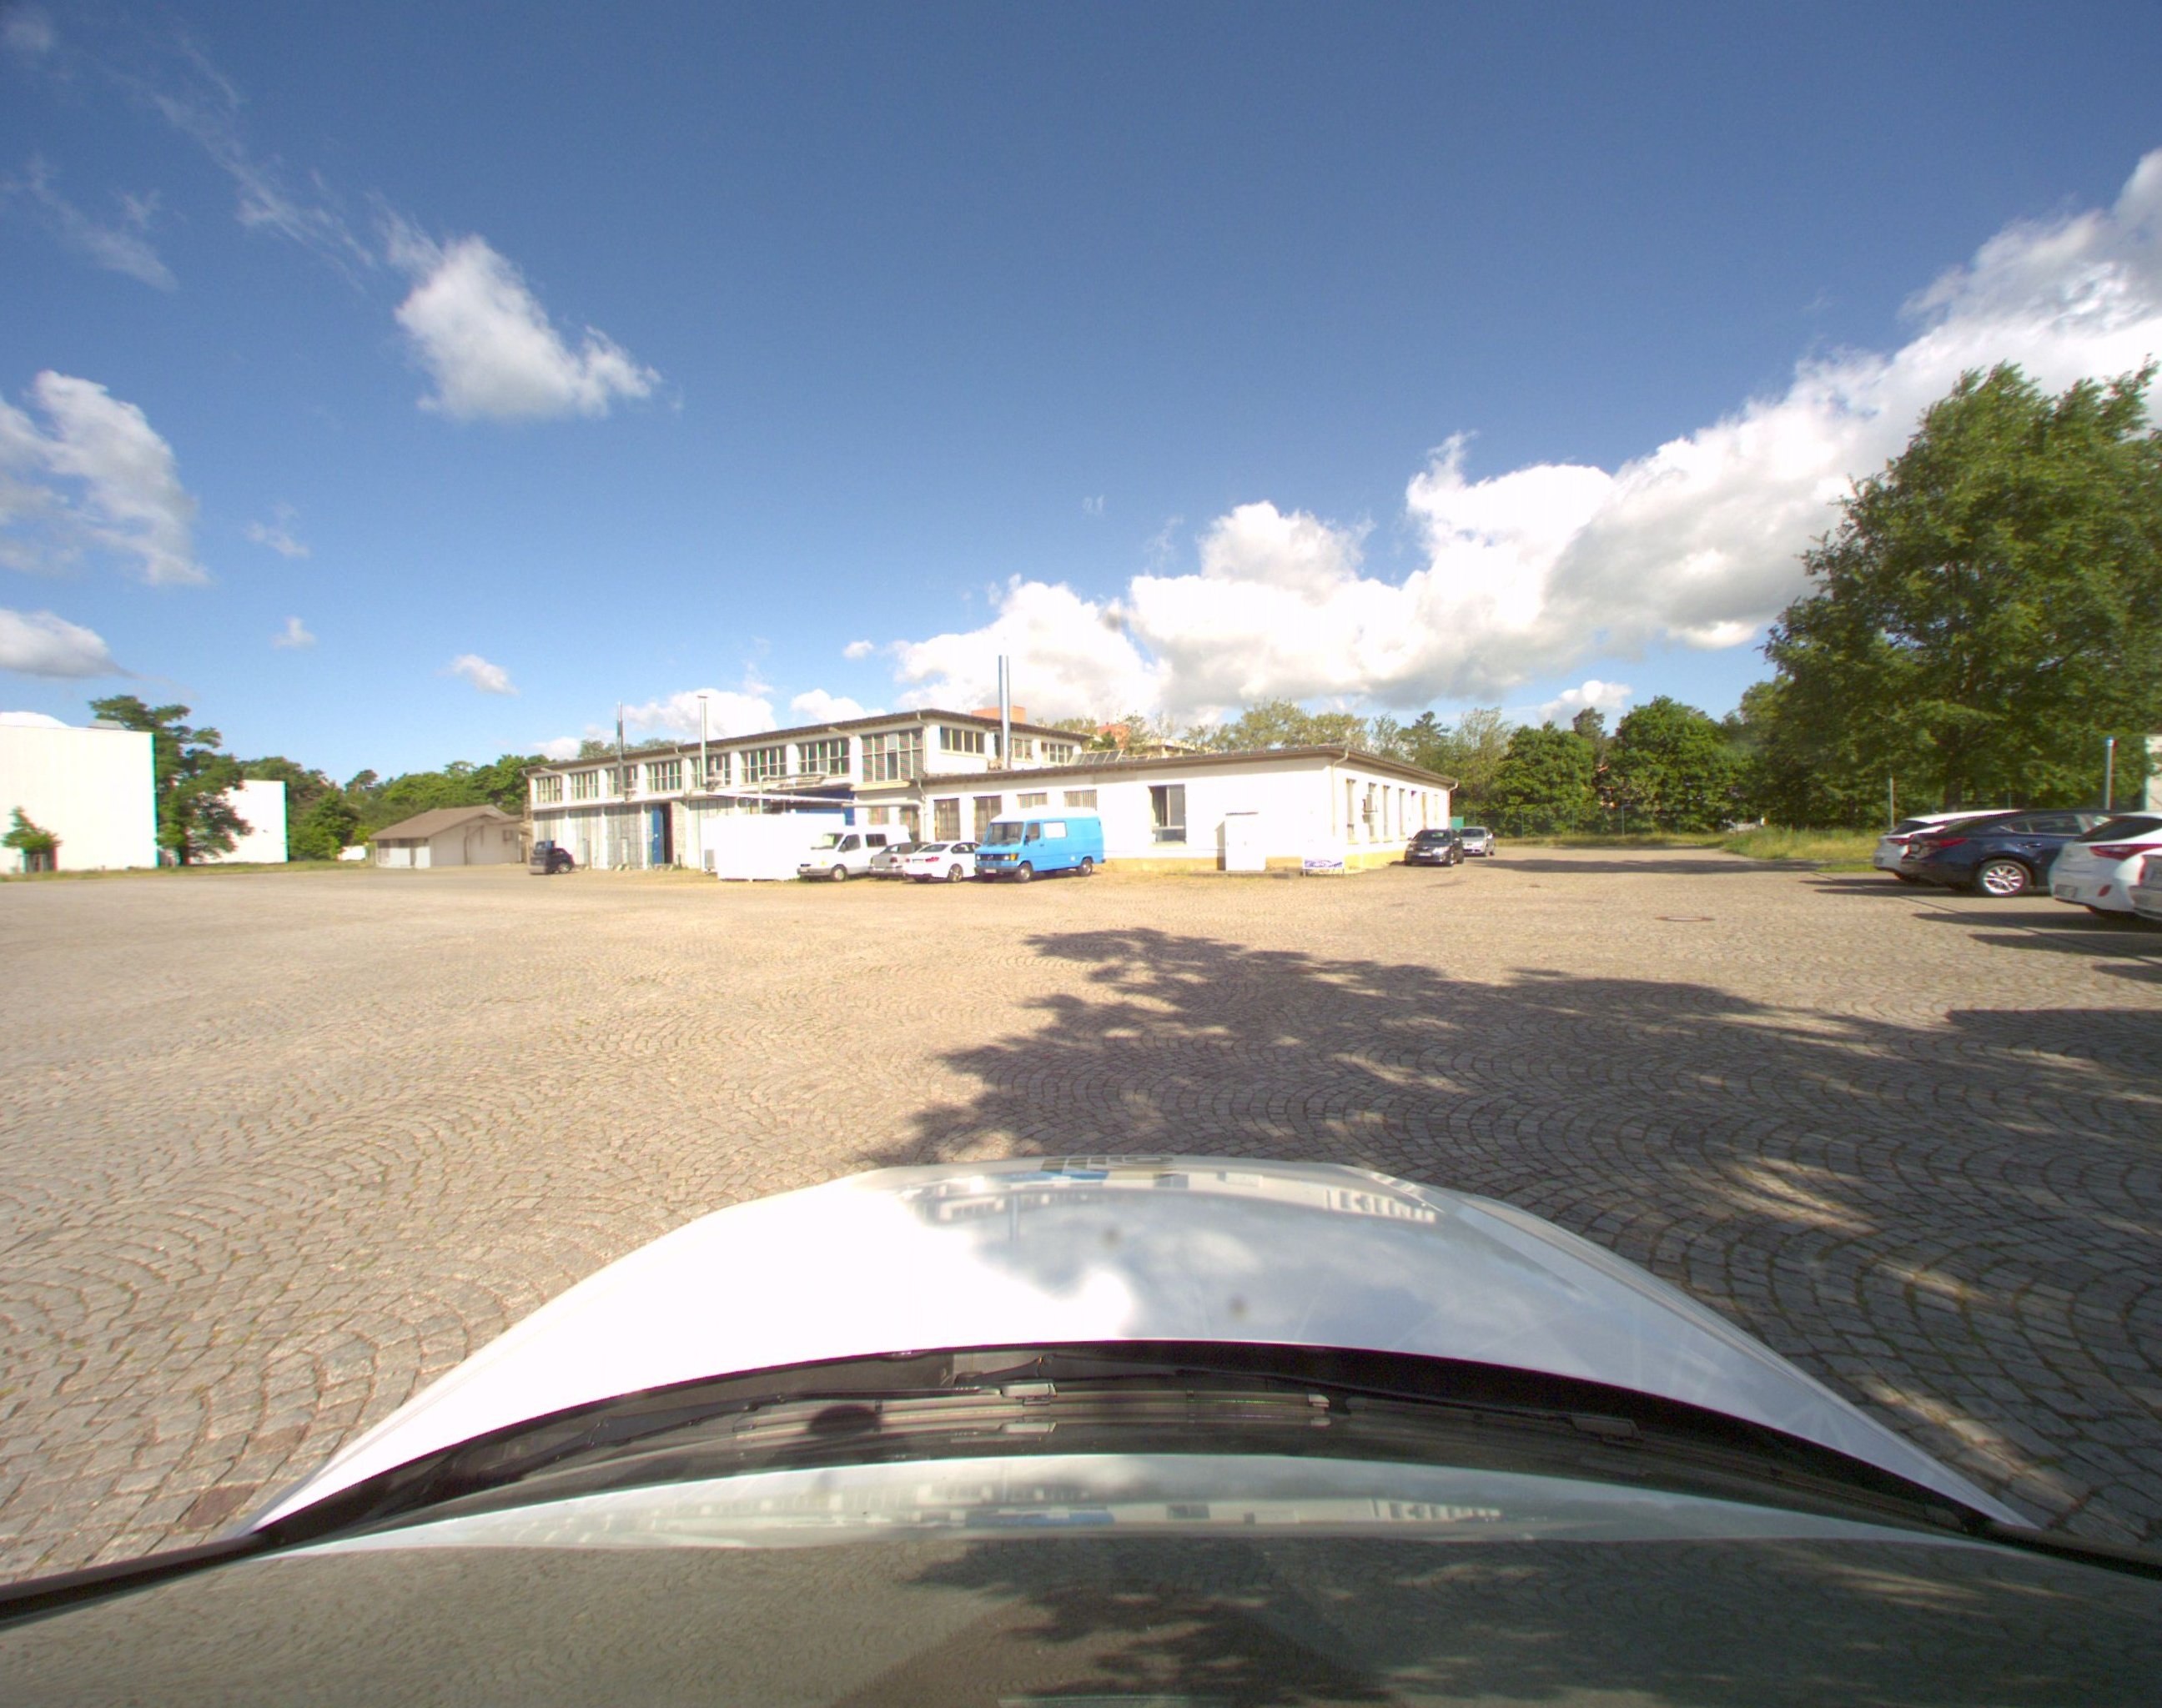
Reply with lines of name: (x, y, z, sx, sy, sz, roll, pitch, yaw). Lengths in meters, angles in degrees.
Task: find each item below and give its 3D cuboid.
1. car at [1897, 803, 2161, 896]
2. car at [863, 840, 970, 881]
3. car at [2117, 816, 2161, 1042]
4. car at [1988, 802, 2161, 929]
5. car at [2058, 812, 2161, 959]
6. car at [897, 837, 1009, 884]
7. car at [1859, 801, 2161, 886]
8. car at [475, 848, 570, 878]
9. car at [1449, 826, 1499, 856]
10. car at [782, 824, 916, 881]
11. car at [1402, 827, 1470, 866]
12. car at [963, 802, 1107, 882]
car: (16.688, -0.076, 13.706, 3.874, 1.417, 1.703, -2, 0, 34)
car: (-6.223, 0.212, 31.152, 1.670, 1.398, 3.856, 0, 2, 36)
car: (8.522, 0.409, 3.500, 4.673, 1.423, 1.768, -2, 0, 33)
car: (13.686, 0.068, 9.450, 3.874, 1.446, 1.767, -2, 0, 34)
car: (12.187, 0.216, 7.401, 3.874, 1.372, 1.739, -2, 0, 34)
car: (-4.449, 0.200, 28.813, 1.715, 1.405, 3.763, -1, 2, 36)
car: (18.178, -0.178, 16.010, 3.874, 1.435, 1.807, -2, 0, 34)
car: (-32.028, 0.497, 46.782, 1.718, 1.469, 4.103, -1, 2, 32)
car: (19.531, -0.661, 40.387, 1.670, 1.435, 4.013, 0, 2, 34)
car: (-9.046, -0.127, 32.203, 1.984, 2.081, 4.836, -1, 1, 36)
car: (14.034, -0.335, 32.107, 1.746, 1.435, 4.018, 0, 2, 34)
car: (-1.457, -0.444, 28.261, 2.062, 2.483, 5.273, -1, 1, 36)
